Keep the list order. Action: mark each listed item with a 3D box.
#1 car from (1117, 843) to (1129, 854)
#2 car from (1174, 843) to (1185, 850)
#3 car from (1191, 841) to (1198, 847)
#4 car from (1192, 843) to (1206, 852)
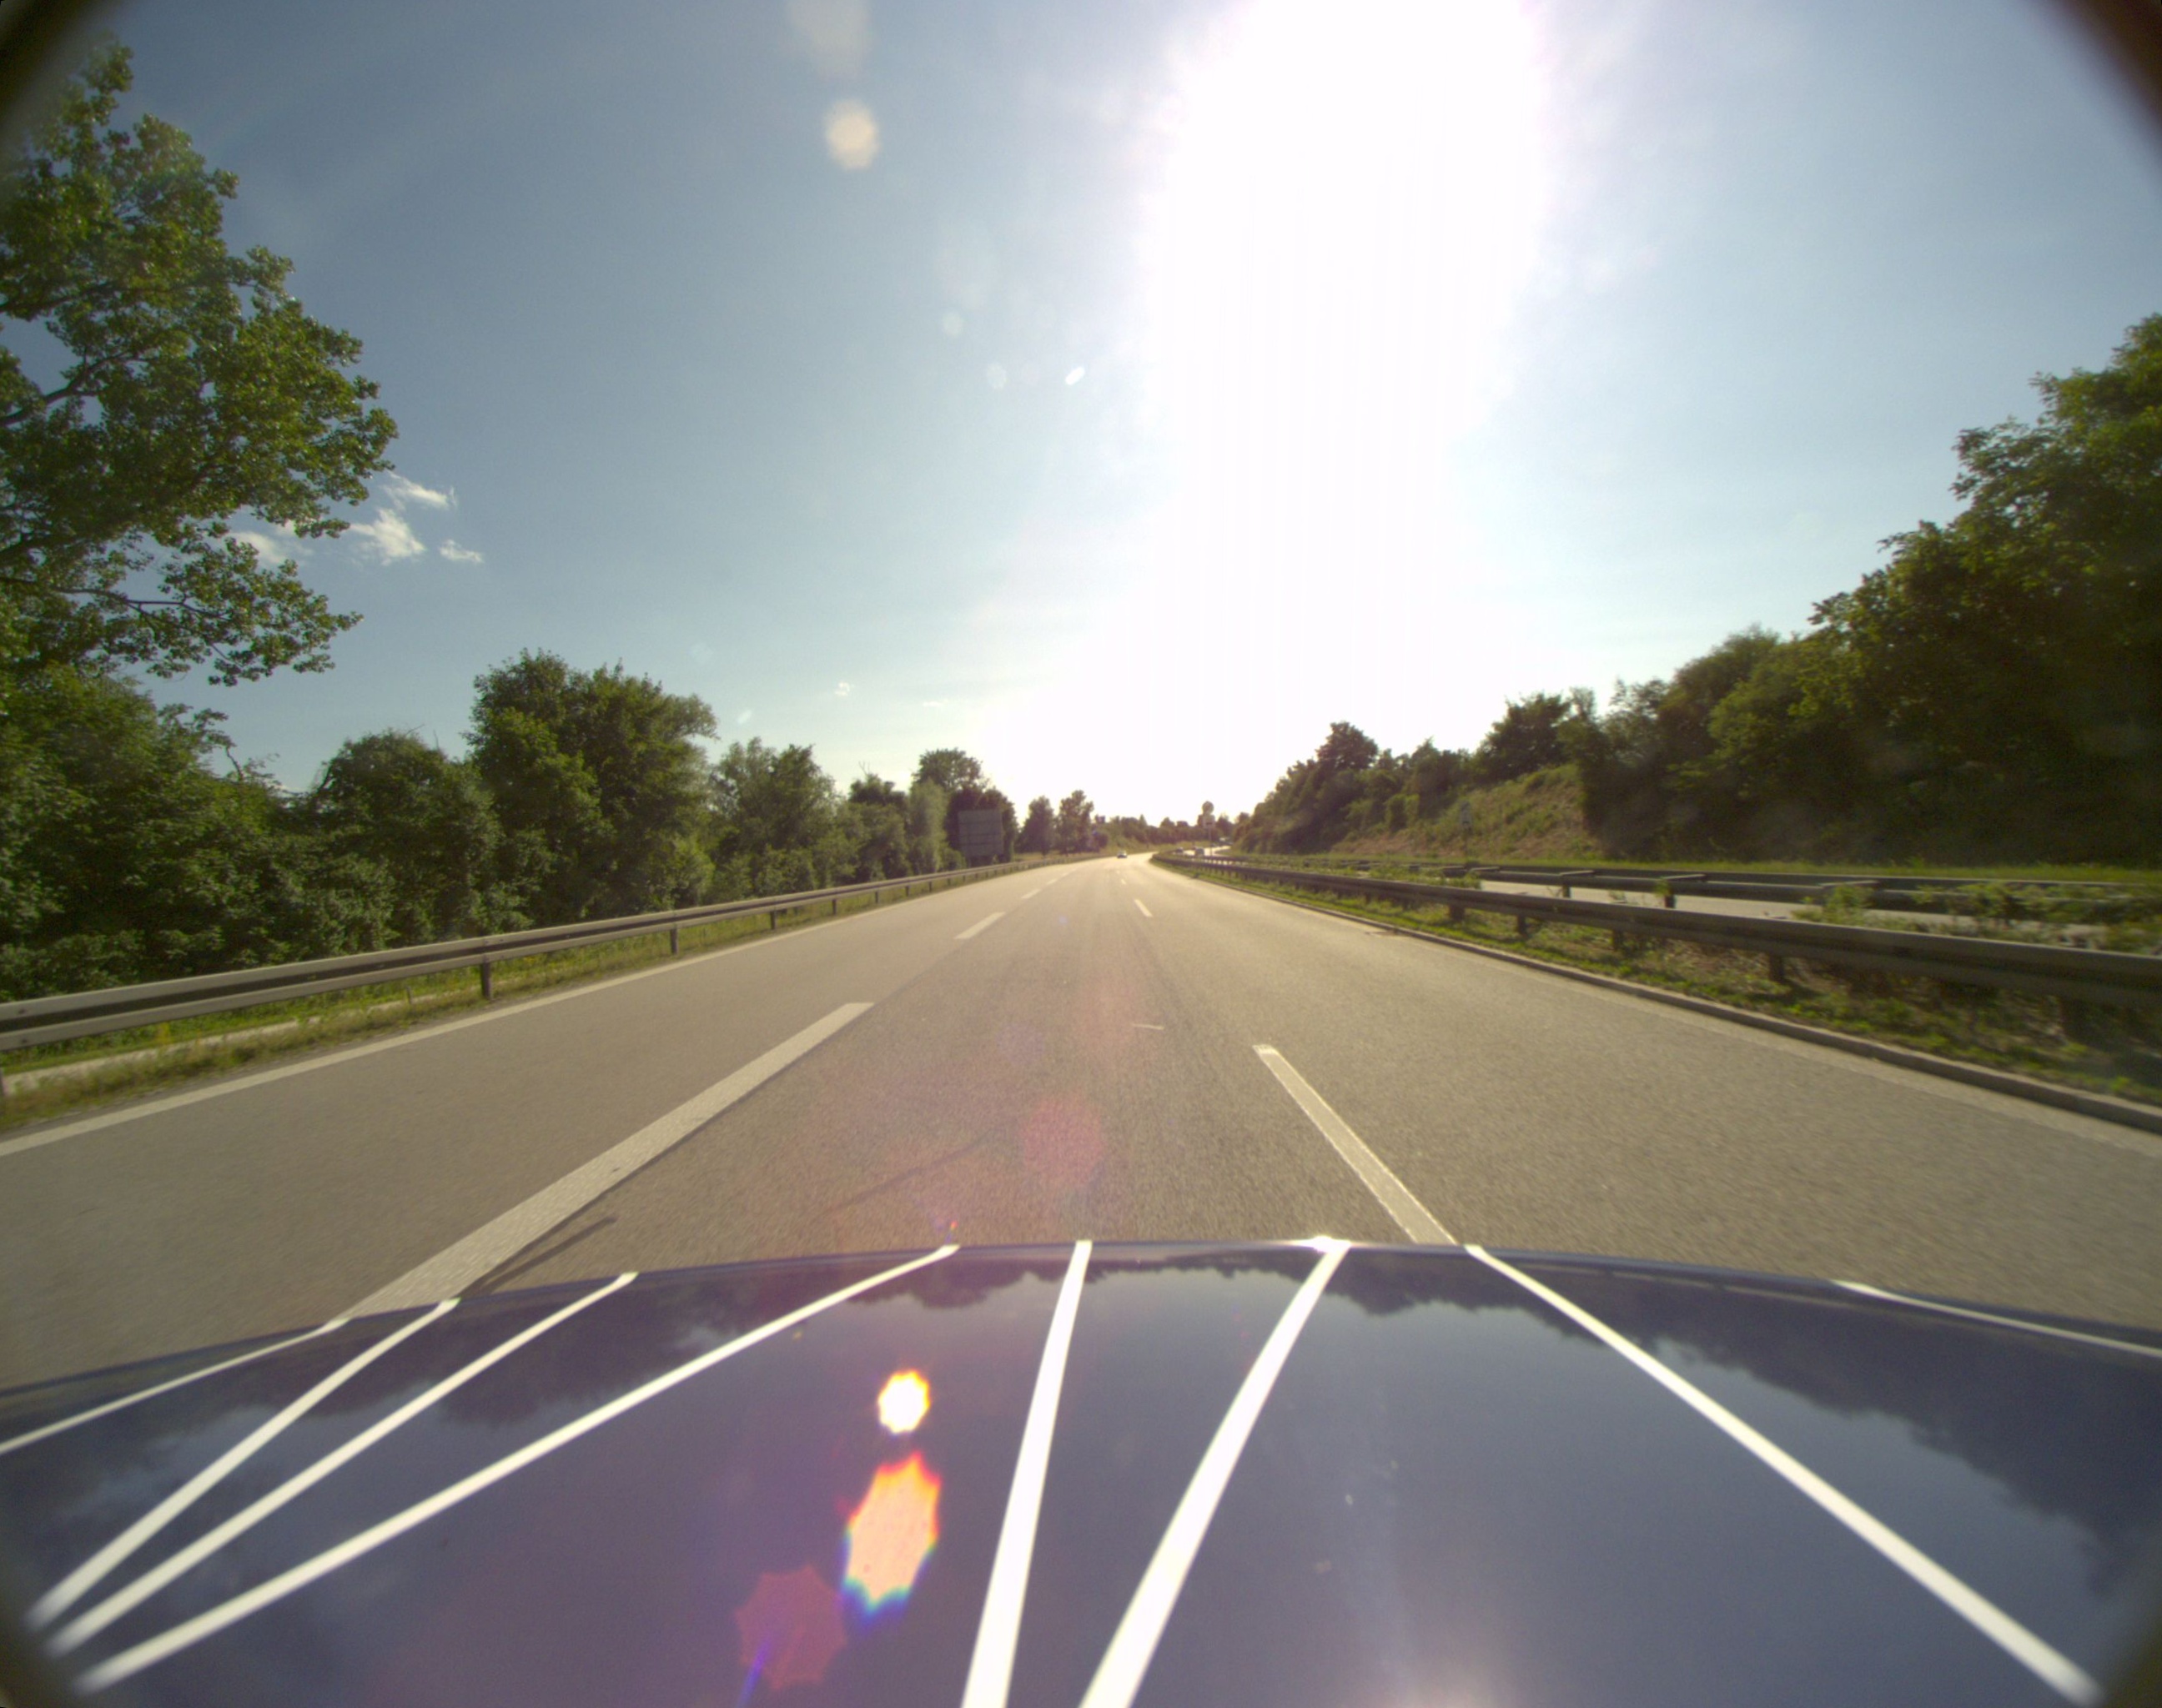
[{"bbox_3d":[8.227,-1.169,149.253,1.998,2.002,4.601,-4,1,6],"label":"car"},{"bbox_3d":[22.658,-1.786,174.722,1.998,1.536,4.676,-1,1,2],"label":"car"},{"bbox_3d":[35.919,-3.178,240.945,1.648,1.446,4.907,-2,2,4],"label":"car"},{"bbox_3d":[20.937,-1.130,134.496,1.844,1.430,4.412,-2,0,2],"label":"car"}]
